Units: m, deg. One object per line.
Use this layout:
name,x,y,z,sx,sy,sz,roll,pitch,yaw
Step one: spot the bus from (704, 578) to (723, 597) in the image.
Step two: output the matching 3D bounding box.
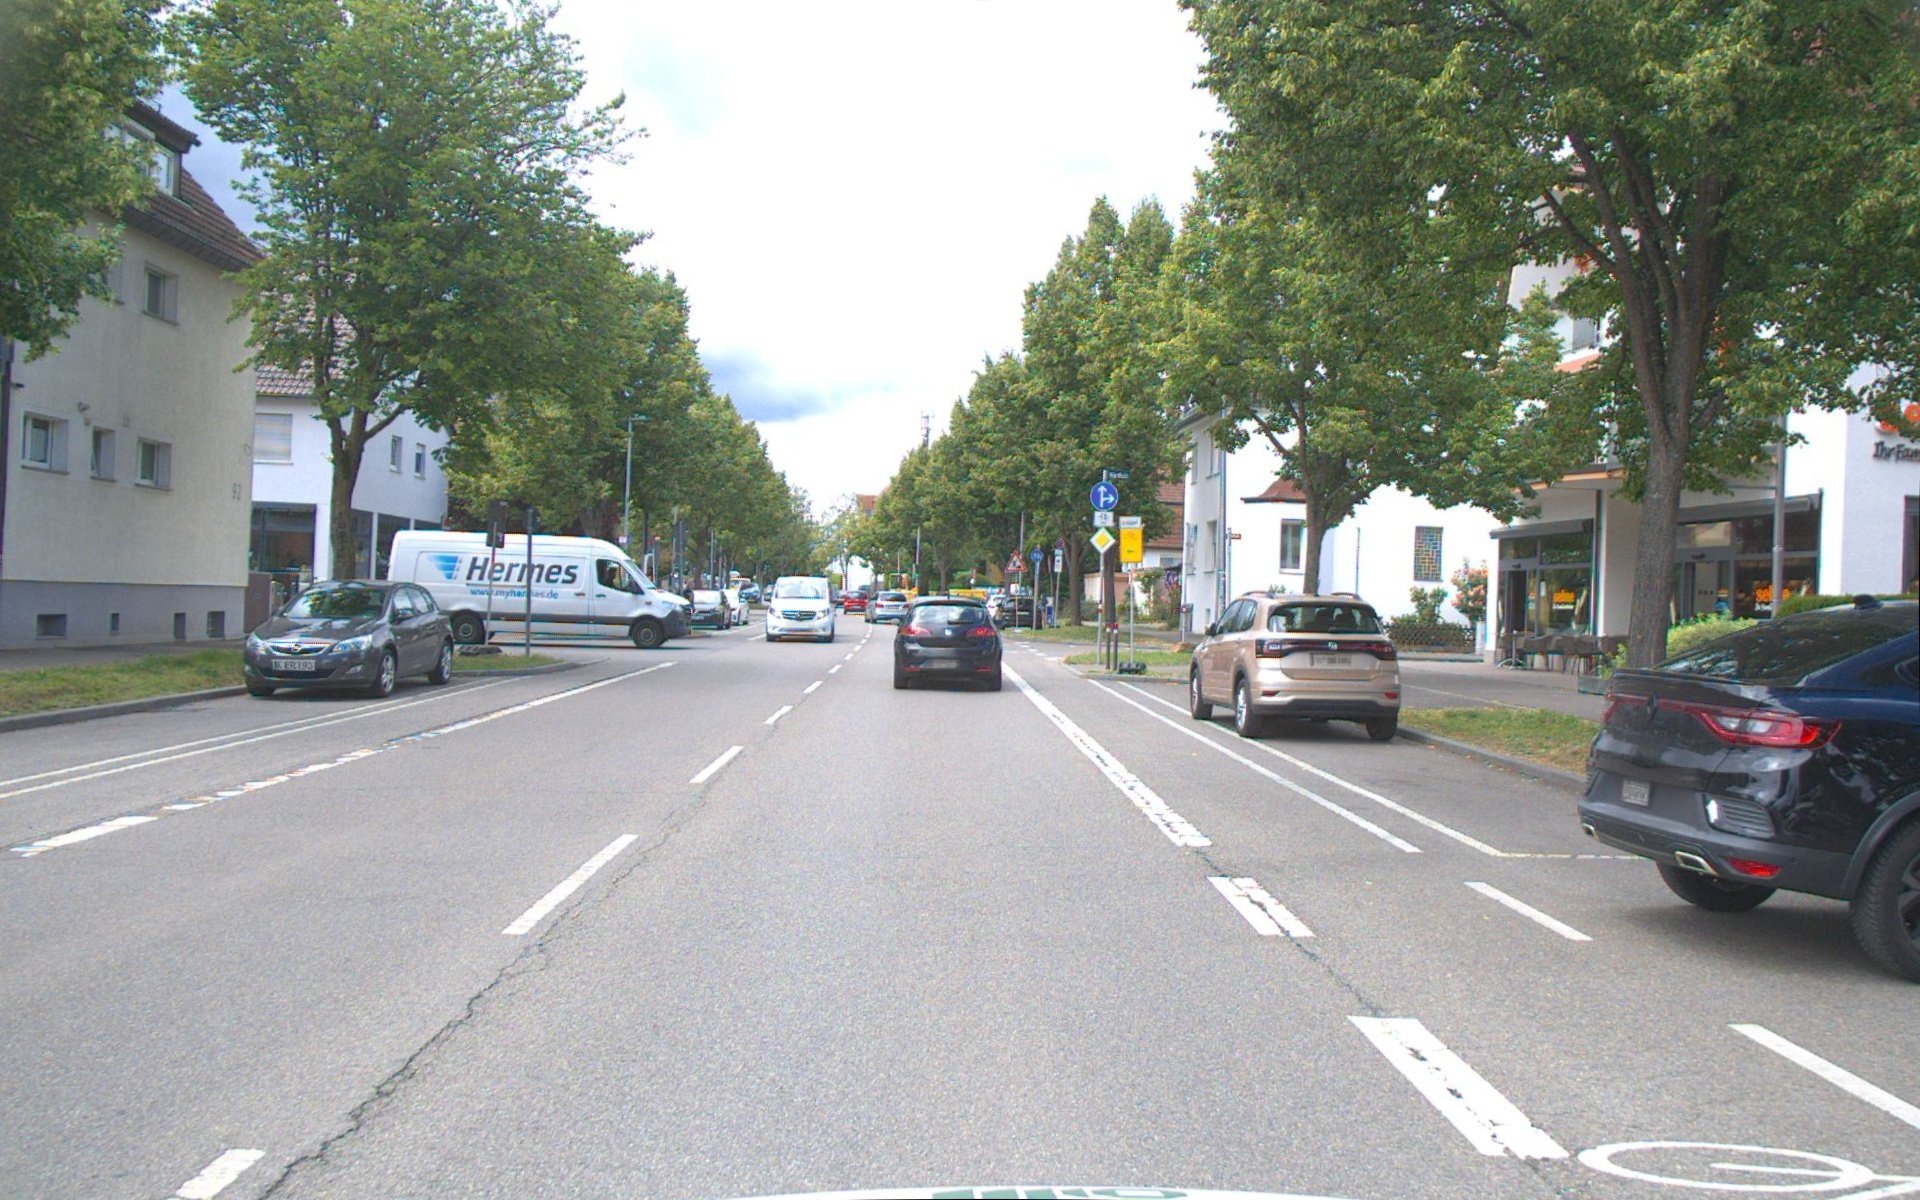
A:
bus,-30.552,-1.551,204.901,1.958,2.160,7.339,2,0,-11

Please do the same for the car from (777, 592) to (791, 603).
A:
car,-23.765,-0.317,222.797,1.776,1.440,3.687,1,0,-7

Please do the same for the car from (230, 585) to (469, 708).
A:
car,-8.177,0.567,22.585,1.696,1.494,4.300,1,0,-1

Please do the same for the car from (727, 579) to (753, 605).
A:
car,-19.790,-0.740,148.641,2.054,2.213,5.033,1,0,-10

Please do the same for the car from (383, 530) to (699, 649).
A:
car,-10.100,-0.239,40.440,7.147,2.640,2.218,1,0,-6

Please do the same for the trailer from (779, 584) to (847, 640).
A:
trailer,-4.746,0.364,53.986,1.899,1.706,4.687,1,0,-2

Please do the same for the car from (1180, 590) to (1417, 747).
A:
car,3.836,0.716,19.429,1.688,1.608,4.058,1,0,-4

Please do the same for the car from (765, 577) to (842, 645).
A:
car,-4.596,0.313,49.243,1.926,1.862,4.817,1,0,-2

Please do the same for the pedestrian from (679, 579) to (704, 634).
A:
pedestrian,-8.482,0.207,52.257,0.531,1.710,0.751,3,1,6

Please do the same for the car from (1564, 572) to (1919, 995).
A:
car,5.148,0.733,7.626,4.137,1.666,1.690,0,0,-7

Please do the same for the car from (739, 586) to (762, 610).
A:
car,-16.082,-0.180,126.839,1.636,1.803,4.458,0,0,-9

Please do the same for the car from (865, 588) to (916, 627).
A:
car,-3.259,0.339,76.709,1.871,1.715,3.730,1,0,-10

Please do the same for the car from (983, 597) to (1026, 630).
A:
car,2.086,0.617,78.361,1.639,1.488,3.996,1,0,-4

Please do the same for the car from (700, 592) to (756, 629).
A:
car,-9.409,0.401,67.293,1.679,1.431,4.300,1,0,0

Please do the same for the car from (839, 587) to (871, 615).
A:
car,-6.512,0.064,102.256,1.757,1.651,3.734,1,0,-7

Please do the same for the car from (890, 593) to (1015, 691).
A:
car,-0.186,0.631,26.979,1.783,1.463,3.737,1,0,-4

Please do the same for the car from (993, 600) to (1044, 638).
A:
car,2.389,0.752,68.462,1.671,1.480,4.614,1,0,-3

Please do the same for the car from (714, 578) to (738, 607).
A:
car,-22.487,-0.703,158.850,2.054,2.672,5.033,1,0,-10

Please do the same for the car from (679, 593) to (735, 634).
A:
car,-9.196,0.484,60.371,1.610,1.445,4.018,1,0,-3

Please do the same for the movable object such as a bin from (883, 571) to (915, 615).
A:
movable object such as a bin,-3.707,-0.417,100.371,1.733,2.619,3.737,2,0,-4
